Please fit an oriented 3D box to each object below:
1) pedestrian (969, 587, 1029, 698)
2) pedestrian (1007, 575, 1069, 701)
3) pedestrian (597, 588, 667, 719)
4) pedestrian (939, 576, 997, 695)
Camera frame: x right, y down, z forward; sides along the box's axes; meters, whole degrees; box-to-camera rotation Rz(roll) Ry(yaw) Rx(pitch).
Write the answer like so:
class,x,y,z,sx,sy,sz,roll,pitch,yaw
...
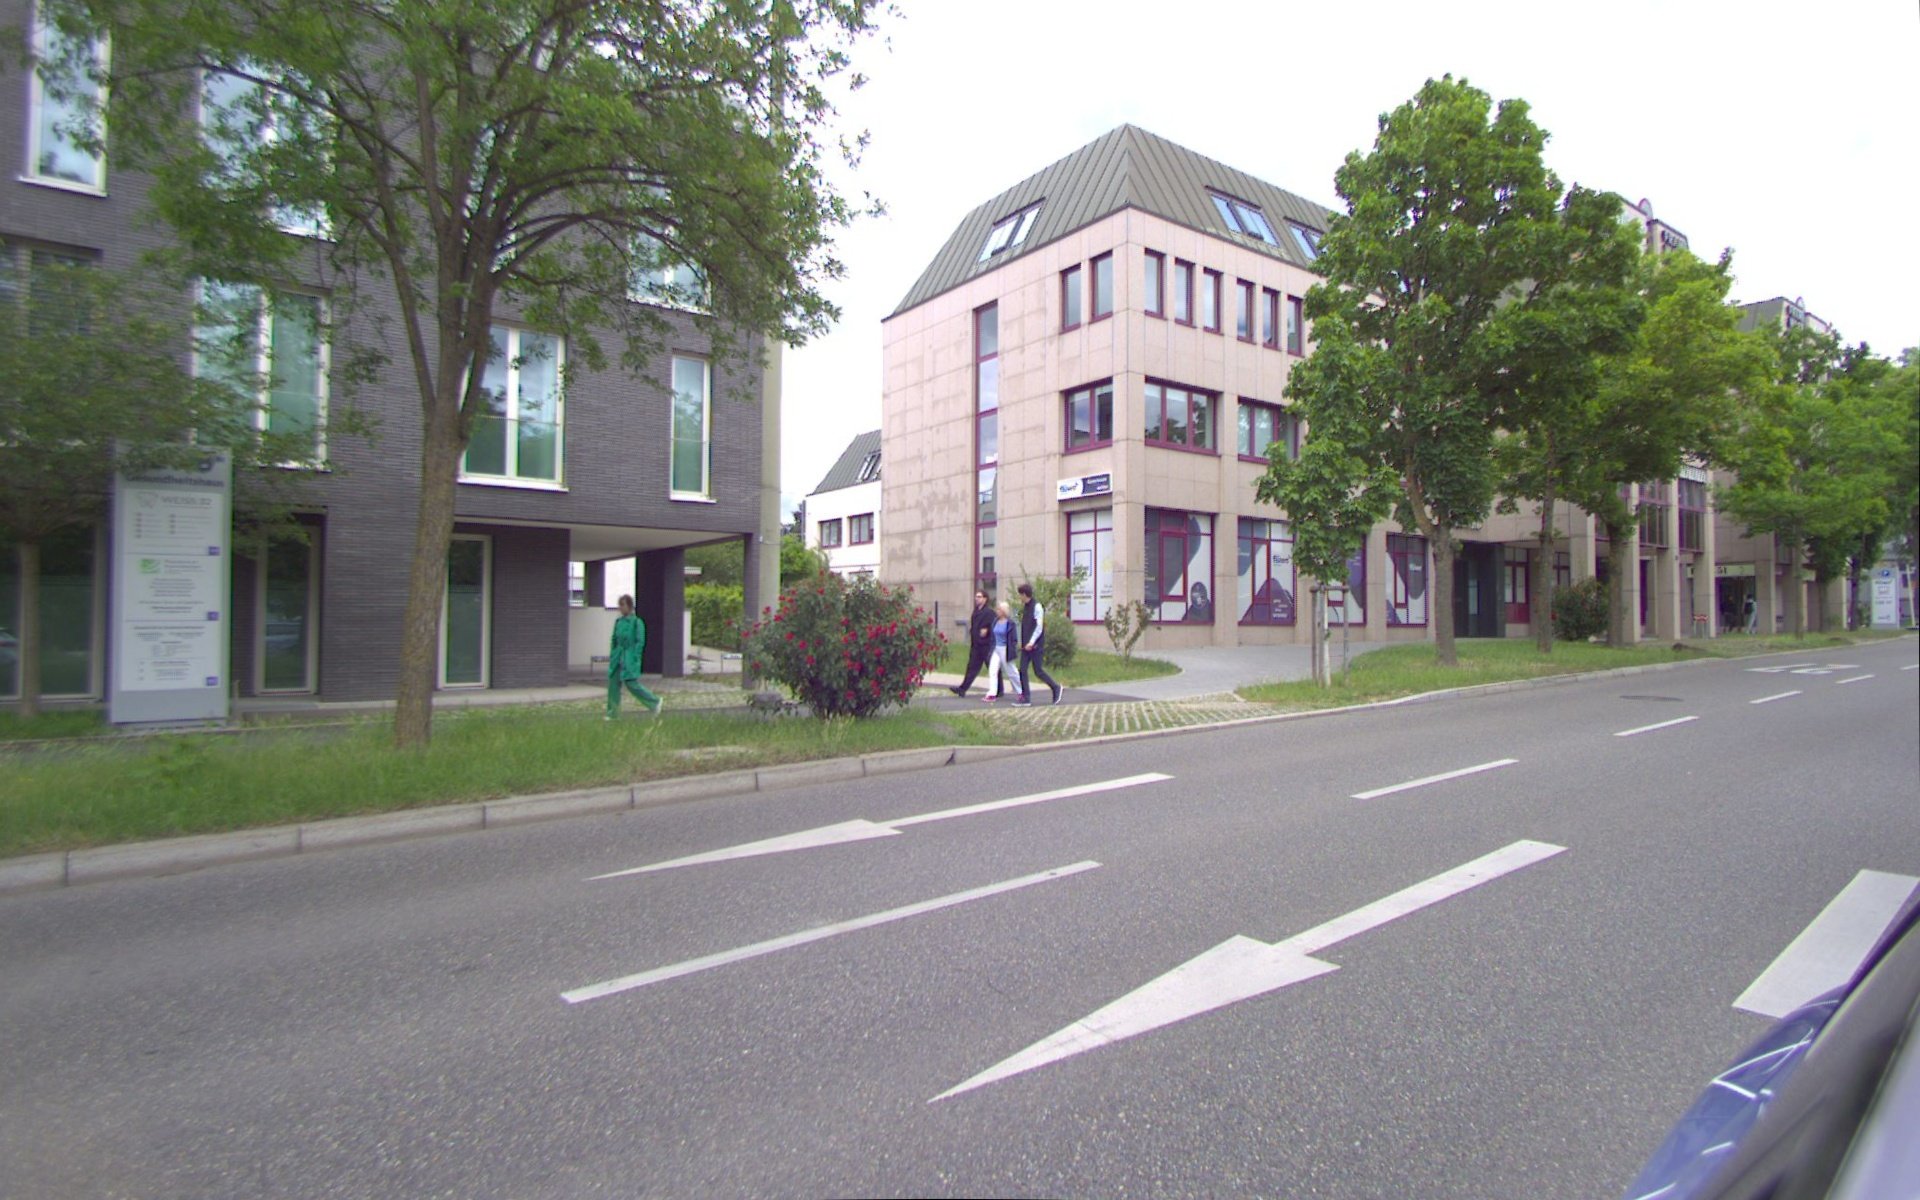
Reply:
class,x,y,z,sx,sy,sz,roll,pitch,yaw
pedestrian,0.596,0.643,15.652,0.665,1.668,0.642,0,-1,-40
pedestrian,1.162,0.551,15.155,0.665,1.828,0.642,0,-1,-40
pedestrian,-4.022,0.638,12.411,0.665,1.537,0.496,0,2,-40
pedestrian,0.125,0.547,16.038,0.665,1.828,0.642,0,-1,-40
